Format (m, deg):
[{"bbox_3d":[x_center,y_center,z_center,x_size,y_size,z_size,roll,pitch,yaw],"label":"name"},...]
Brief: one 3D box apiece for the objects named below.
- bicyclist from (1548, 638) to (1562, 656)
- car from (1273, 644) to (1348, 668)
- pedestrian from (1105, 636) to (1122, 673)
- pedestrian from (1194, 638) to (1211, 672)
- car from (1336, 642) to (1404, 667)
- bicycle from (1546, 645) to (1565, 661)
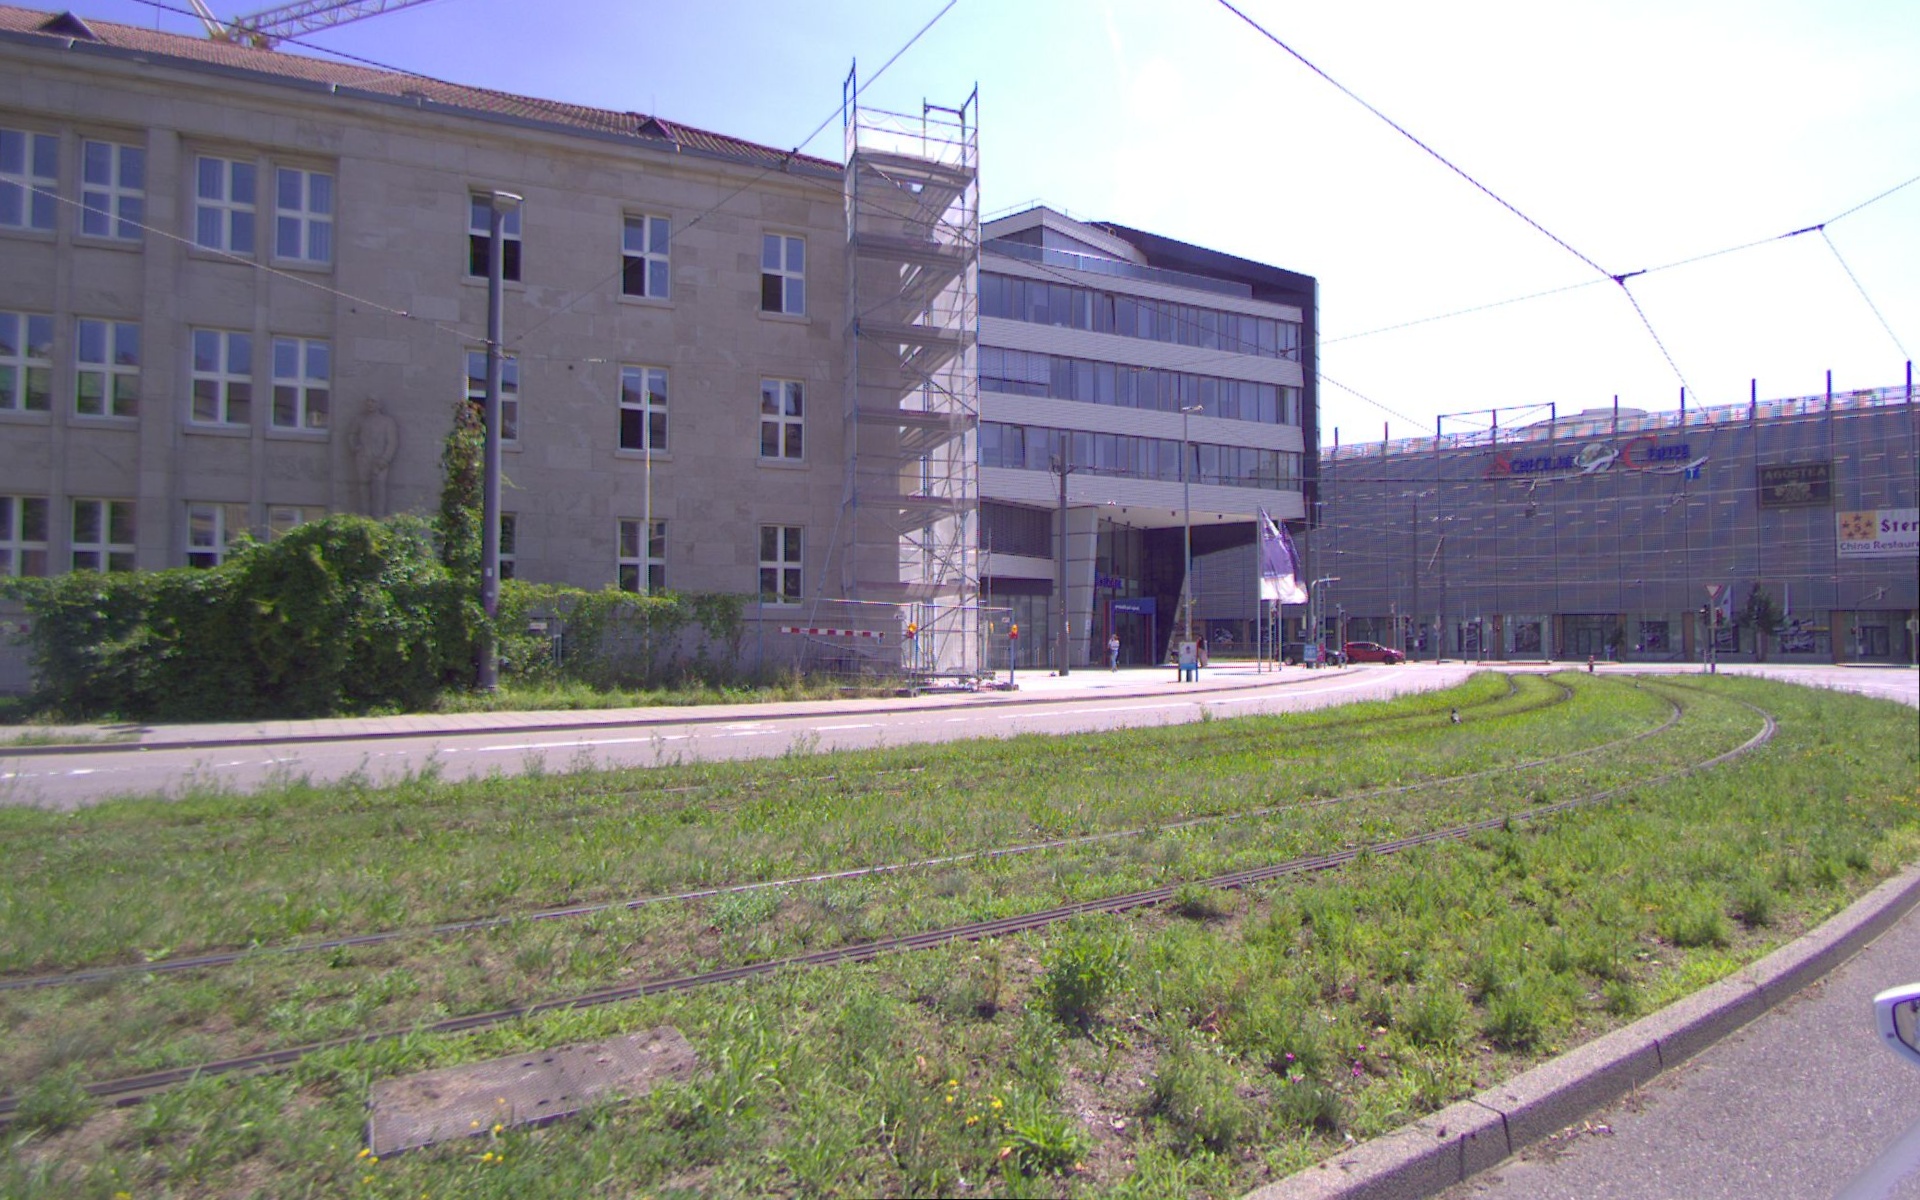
[{"bbox_3d":[54.778,4.315,92.473,1.027,1.592,0.774,0,-2,39],"label":"bicyclist"},{"bbox_3d":[23.069,3.676,66.056,4.456,1.528,1.841,-2,-2,26],"label":"car"},{"bbox_3d":[6.558,2.322,42.814,0.578,1.538,0.580,1,-1,-6],"label":"pedestrian"},{"bbox_3d":[11.888,2.676,49.289,0.734,1.652,0.916,0,-1,8],"label":"pedestrian"},{"bbox_3d":[27.352,3.606,67.027,4.064,1.528,1.839,0,-2,29],"label":"car"},{"bbox_3d":[54.992,4.919,92.739,1.049,1.408,3.011,0,-2,39],"label":"bicycle"}]
